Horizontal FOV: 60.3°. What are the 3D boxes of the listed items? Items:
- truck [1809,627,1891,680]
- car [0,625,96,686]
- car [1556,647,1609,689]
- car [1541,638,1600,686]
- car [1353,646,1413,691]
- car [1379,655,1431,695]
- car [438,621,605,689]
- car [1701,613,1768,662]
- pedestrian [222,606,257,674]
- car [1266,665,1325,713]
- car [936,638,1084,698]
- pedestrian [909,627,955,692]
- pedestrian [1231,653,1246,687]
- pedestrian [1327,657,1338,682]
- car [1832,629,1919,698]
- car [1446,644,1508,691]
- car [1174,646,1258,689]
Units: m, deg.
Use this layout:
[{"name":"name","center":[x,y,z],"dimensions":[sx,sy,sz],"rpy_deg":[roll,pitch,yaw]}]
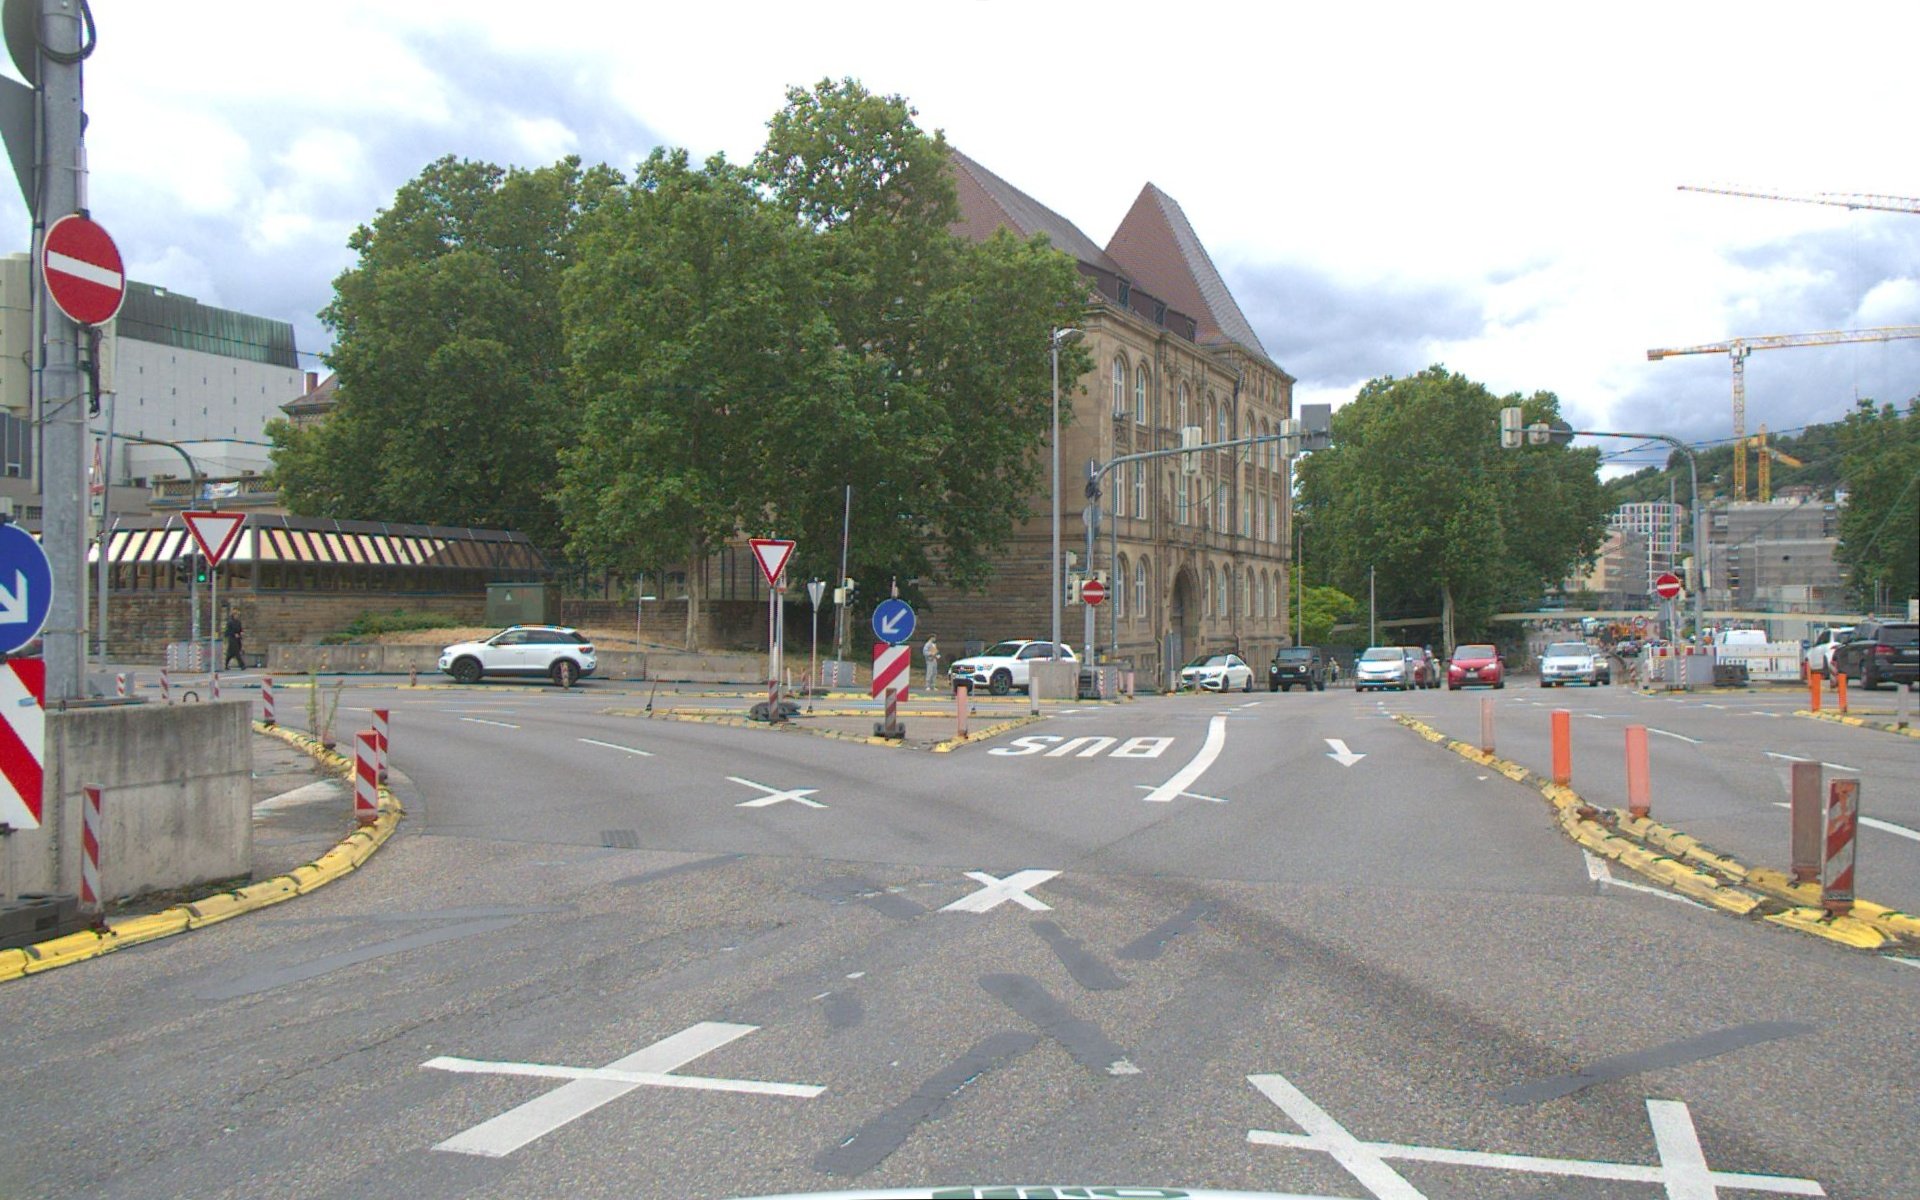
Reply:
[{"name":"truck","center":[30.989,1.829,57.690],"dimensions":[1.894,1.711,4.014],"rpy_deg":[0,0,19]},{"name":"car","center":[-26.840,1.521,46.565],"dimensions":[4.370,1.595,1.830],"rpy_deg":[1,0,15]},{"name":"car","center":[22.595,2.462,59.991],"dimensions":[1.654,1.461,3.446],"rpy_deg":[-3,-3,22]},{"name":"car","center":[19.737,2.005,53.440],"dimensions":[1.654,1.461,3.446],"rpy_deg":[-3,-3,22]},{"name":"car","center":[14.519,2.374,56.641],"dimensions":[1.625,1.461,3.447],"rpy_deg":[-2,-4,20]},{"name":"car","center":[17.014,2.841,63.182],"dimensions":[1.625,1.460,3.447],"rpy_deg":[1,-1,20]},{"name":"car","center":[-11.887,1.490,45.055],"dimensions":[4.240,1.595,1.752],"rpy_deg":[2,2,-12]},{"name":"car","center":[27.984,1.387,59.858],"dimensions":[1.721,1.717,3.644],"rpy_deg":[0,-2,18]},{"name":"pedestrian","center":[-21.878,1.221,50.245],"dimensions":[0.833,2.049,0.621],"rpy_deg":[0,-2,-11]},{"name":"car","center":[15.010,4.012,73.929],"dimensions":[1.893,1.972,3.671],"rpy_deg":[-3,-6,22]},{"name":"car","center":[1.542,2.065,49.804],"dimensions":[4.516,1.671,1.788],"rpy_deg":[3,-2,-44]},{"name":"pedestrian","center":[-0.902,1.889,52.872],"dimensions":[1.172,2.049,1.198],"rpy_deg":[1,-2,-18]},{"name":"pedestrian","center":[14.008,3.512,83.229],"dimensions":[0.645,1.664,0.851],"rpy_deg":[-1,-2,18]},{"name":"pedestrian","center":[25.733,4.798,114.232],"dimensions":[0.645,1.664,0.851],"rpy_deg":[-1,-2,18]},{"name":"car","center":[24.169,1.643,42.954],"dimensions":[1.897,1.696,3.644],"rpy_deg":[0,-2,15]},{"name":"car","center":[17.011,2.196,54.339],"dimensions":[1.651,1.461,3.446],"rpy_deg":[-2,-2,22]},{"name":"car","center":[9.395,2.439,60.445],"dimensions":[1.701,1.460,4.375],"rpy_deg":[0,-1,28]}]
